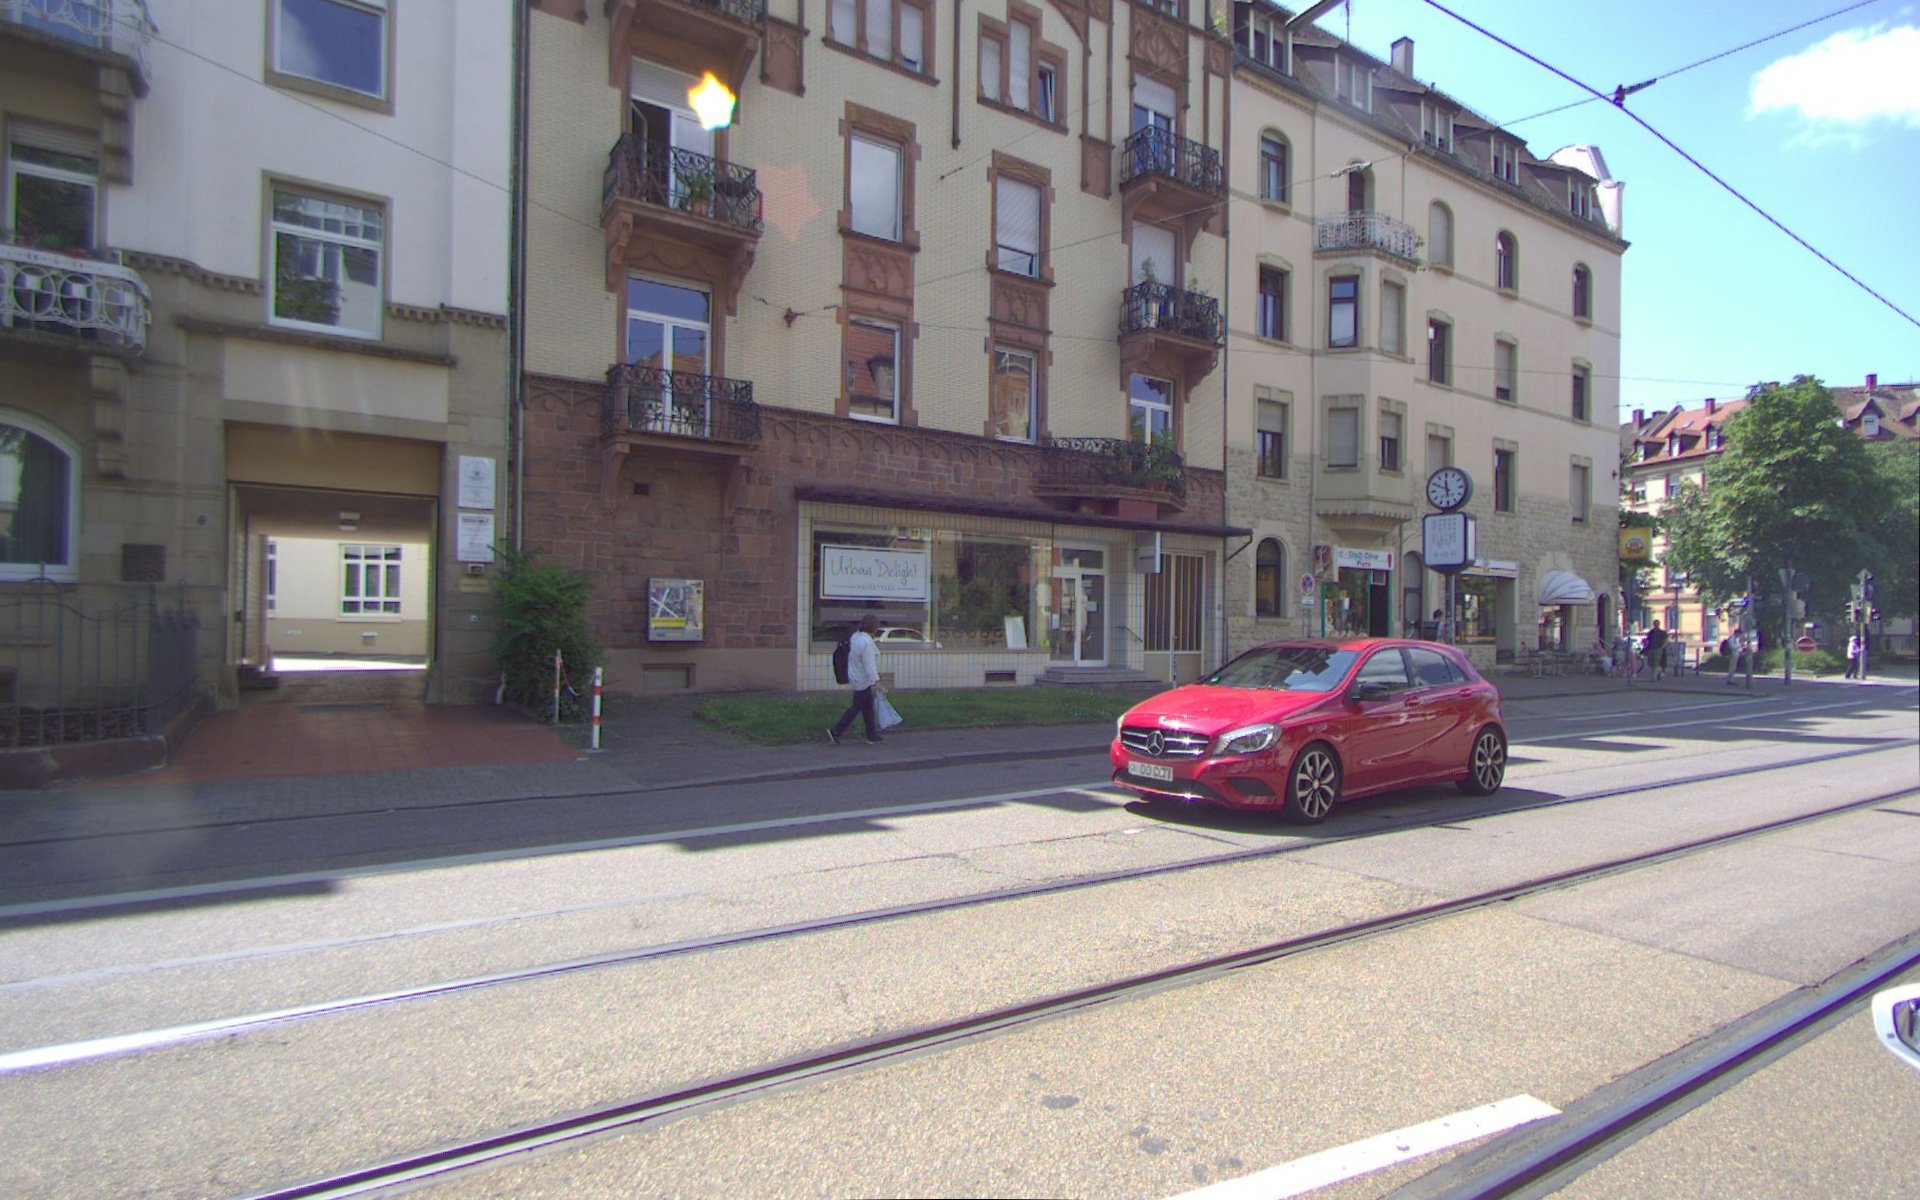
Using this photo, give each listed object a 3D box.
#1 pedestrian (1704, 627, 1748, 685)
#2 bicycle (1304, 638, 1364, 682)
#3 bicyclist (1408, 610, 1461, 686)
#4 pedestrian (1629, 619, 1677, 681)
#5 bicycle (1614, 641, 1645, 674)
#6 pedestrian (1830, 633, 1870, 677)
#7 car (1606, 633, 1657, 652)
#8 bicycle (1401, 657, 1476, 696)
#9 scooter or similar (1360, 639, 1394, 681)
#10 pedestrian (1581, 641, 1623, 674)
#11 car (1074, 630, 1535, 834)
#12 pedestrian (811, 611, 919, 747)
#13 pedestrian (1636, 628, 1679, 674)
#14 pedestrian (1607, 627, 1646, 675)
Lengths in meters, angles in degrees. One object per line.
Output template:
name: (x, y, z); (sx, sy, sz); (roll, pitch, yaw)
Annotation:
pedestrian: (24.171, 1.755, 31.688); (0.767, 1.756, 0.855); (1, 0, -31)
bicycle: (9.606, 1.540, 25.797); (1.439, 1.080, 0.370); (3, -1, -10)
bicyclist: (10.778, 1.079, 22.805); (0.823, 1.685, 0.750); (2, 0, -37)
pedestrian: (22.030, 1.573, 31.916); (1.152, 1.916, 0.895); (1, -1, -34)
bicycle: (24.330, 2.098, 36.528); (0.534, 1.143, 1.683); (1, -3, 20)
pedestrian: (35.868, 2.193, 40.504); (0.823, 1.746, 0.920); (1, -1, 7)
car: (55.843, 3.486, 83.637); (1.654, 1.491, 3.467); (1, -1, -8)
bicycle: (10.888, 1.723, 22.837); (1.802, 0.828, 0.747); (2, -2, -35)
scooter or similar: (11.256, 1.598, 27.148); (0.682, 1.058, 1.210); (2, 0, 17)
pedestrian: (21.811, 1.945, 34.128); (0.873, 1.092, 0.911); (1, -1, -32)
car: (3.264, 1.023, 9.148); (4.387, 1.432, 1.810); (2, -3, -36)
pedestrian: (-1.154, 0.922, 12.147); (0.975, 1.563, 0.895); (1, -1, -36)
pedestrian: (25.332, 1.841, 36.480); (0.846, 1.657, 1.026); (1, -1, -3)
pedestrian: (22.563, 1.716, 34.007); (0.910, 1.616, 0.801); (2, -1, -34)
